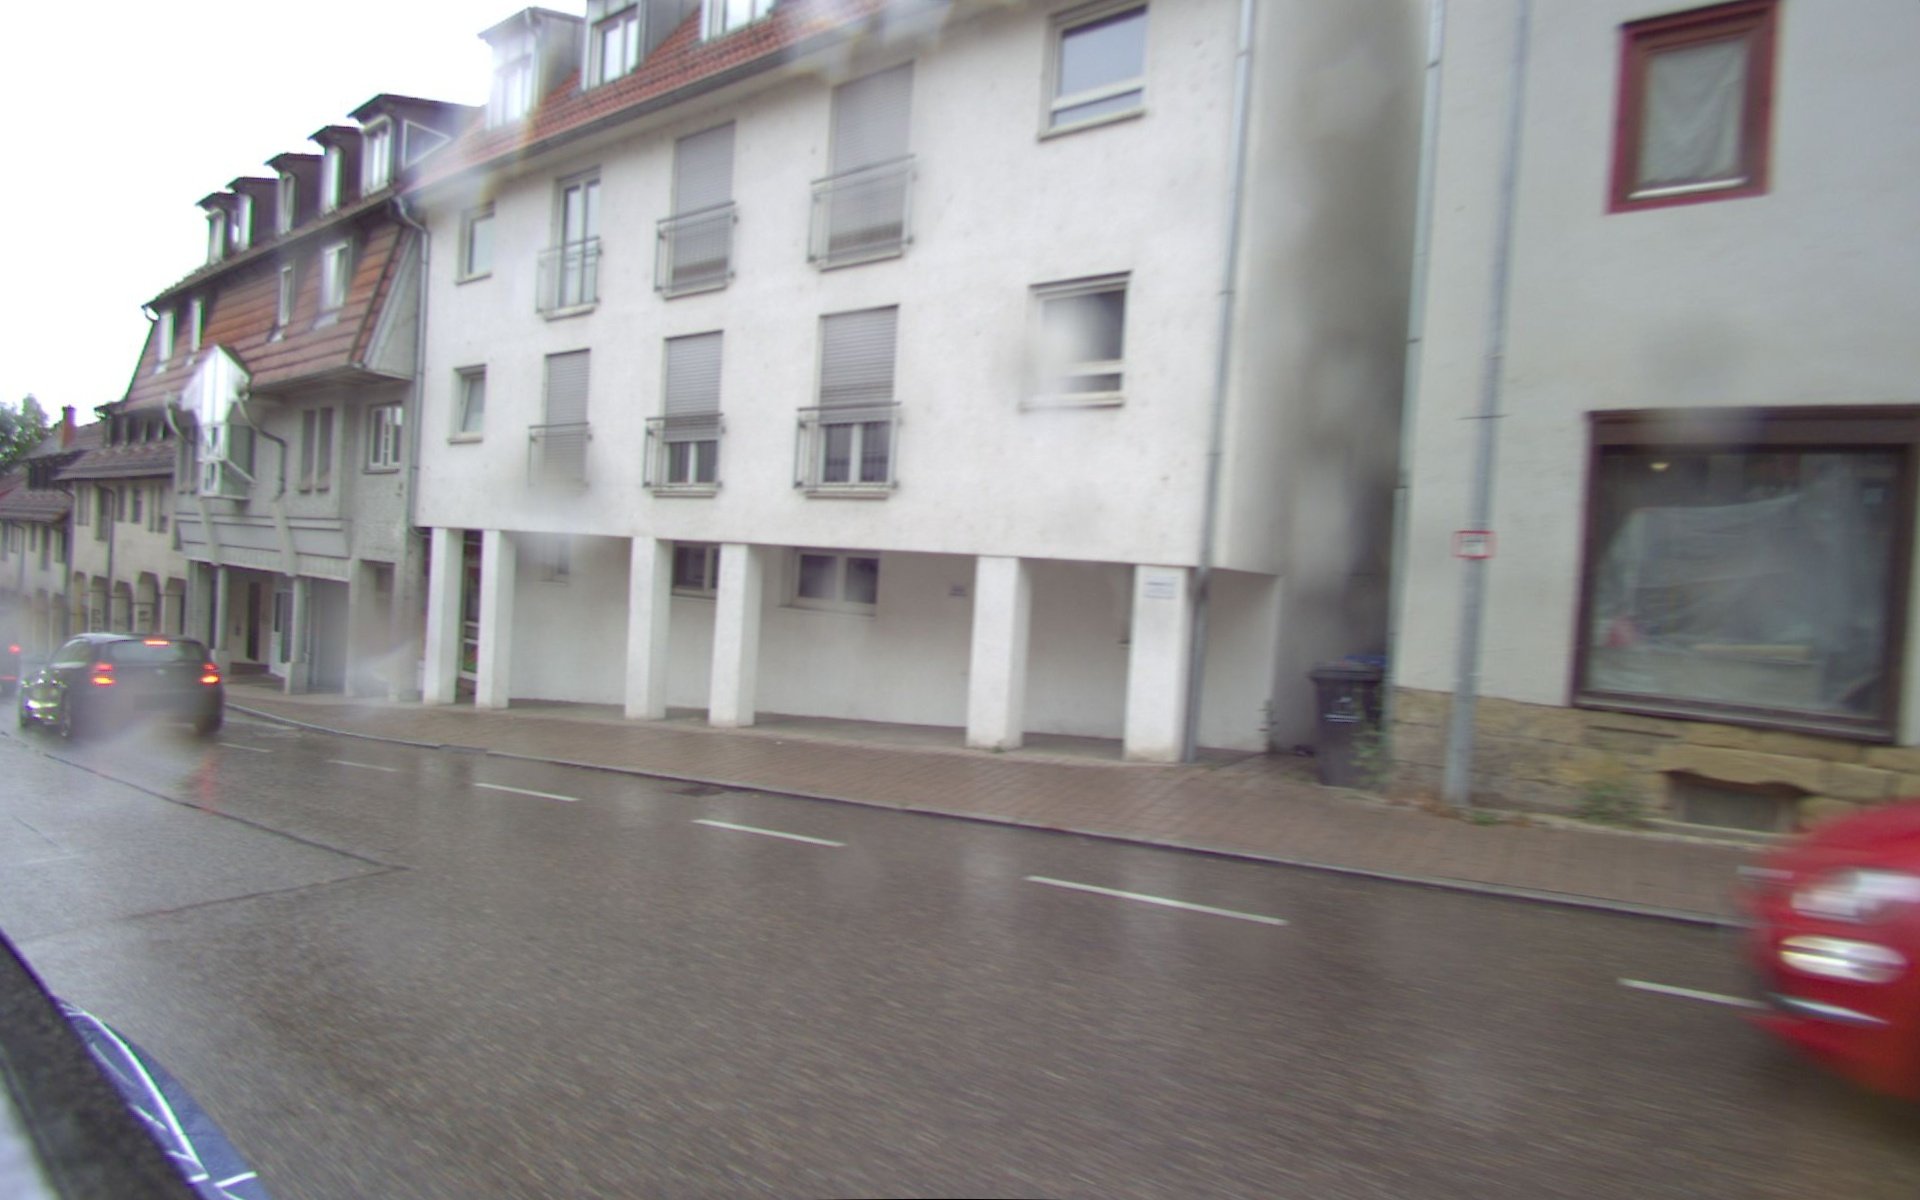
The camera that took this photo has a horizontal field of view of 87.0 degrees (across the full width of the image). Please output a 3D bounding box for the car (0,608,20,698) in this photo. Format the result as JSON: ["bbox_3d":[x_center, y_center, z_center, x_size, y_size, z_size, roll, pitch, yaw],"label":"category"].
[{"bbox_3d":[-22.961,1.160,22.910,5.040,1.922,1.911,-1,-2,41],"label":"car"}]

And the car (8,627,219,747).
[{"bbox_3d":[-12.052,1.116,14.324,3.908,1.455,1.670,-1,-2,41],"label":"car"}]

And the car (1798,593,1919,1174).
[{"bbox_3d":[4.364,0.779,2.431,3.440,1.547,1.546,-1,-3,34],"label":"car"}]

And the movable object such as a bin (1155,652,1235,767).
[{"bbox_3d":[2.223,1.011,9.559,0.584,1.014,0.503,-1,-2,36],"label":"movable object such as a bin"}]
